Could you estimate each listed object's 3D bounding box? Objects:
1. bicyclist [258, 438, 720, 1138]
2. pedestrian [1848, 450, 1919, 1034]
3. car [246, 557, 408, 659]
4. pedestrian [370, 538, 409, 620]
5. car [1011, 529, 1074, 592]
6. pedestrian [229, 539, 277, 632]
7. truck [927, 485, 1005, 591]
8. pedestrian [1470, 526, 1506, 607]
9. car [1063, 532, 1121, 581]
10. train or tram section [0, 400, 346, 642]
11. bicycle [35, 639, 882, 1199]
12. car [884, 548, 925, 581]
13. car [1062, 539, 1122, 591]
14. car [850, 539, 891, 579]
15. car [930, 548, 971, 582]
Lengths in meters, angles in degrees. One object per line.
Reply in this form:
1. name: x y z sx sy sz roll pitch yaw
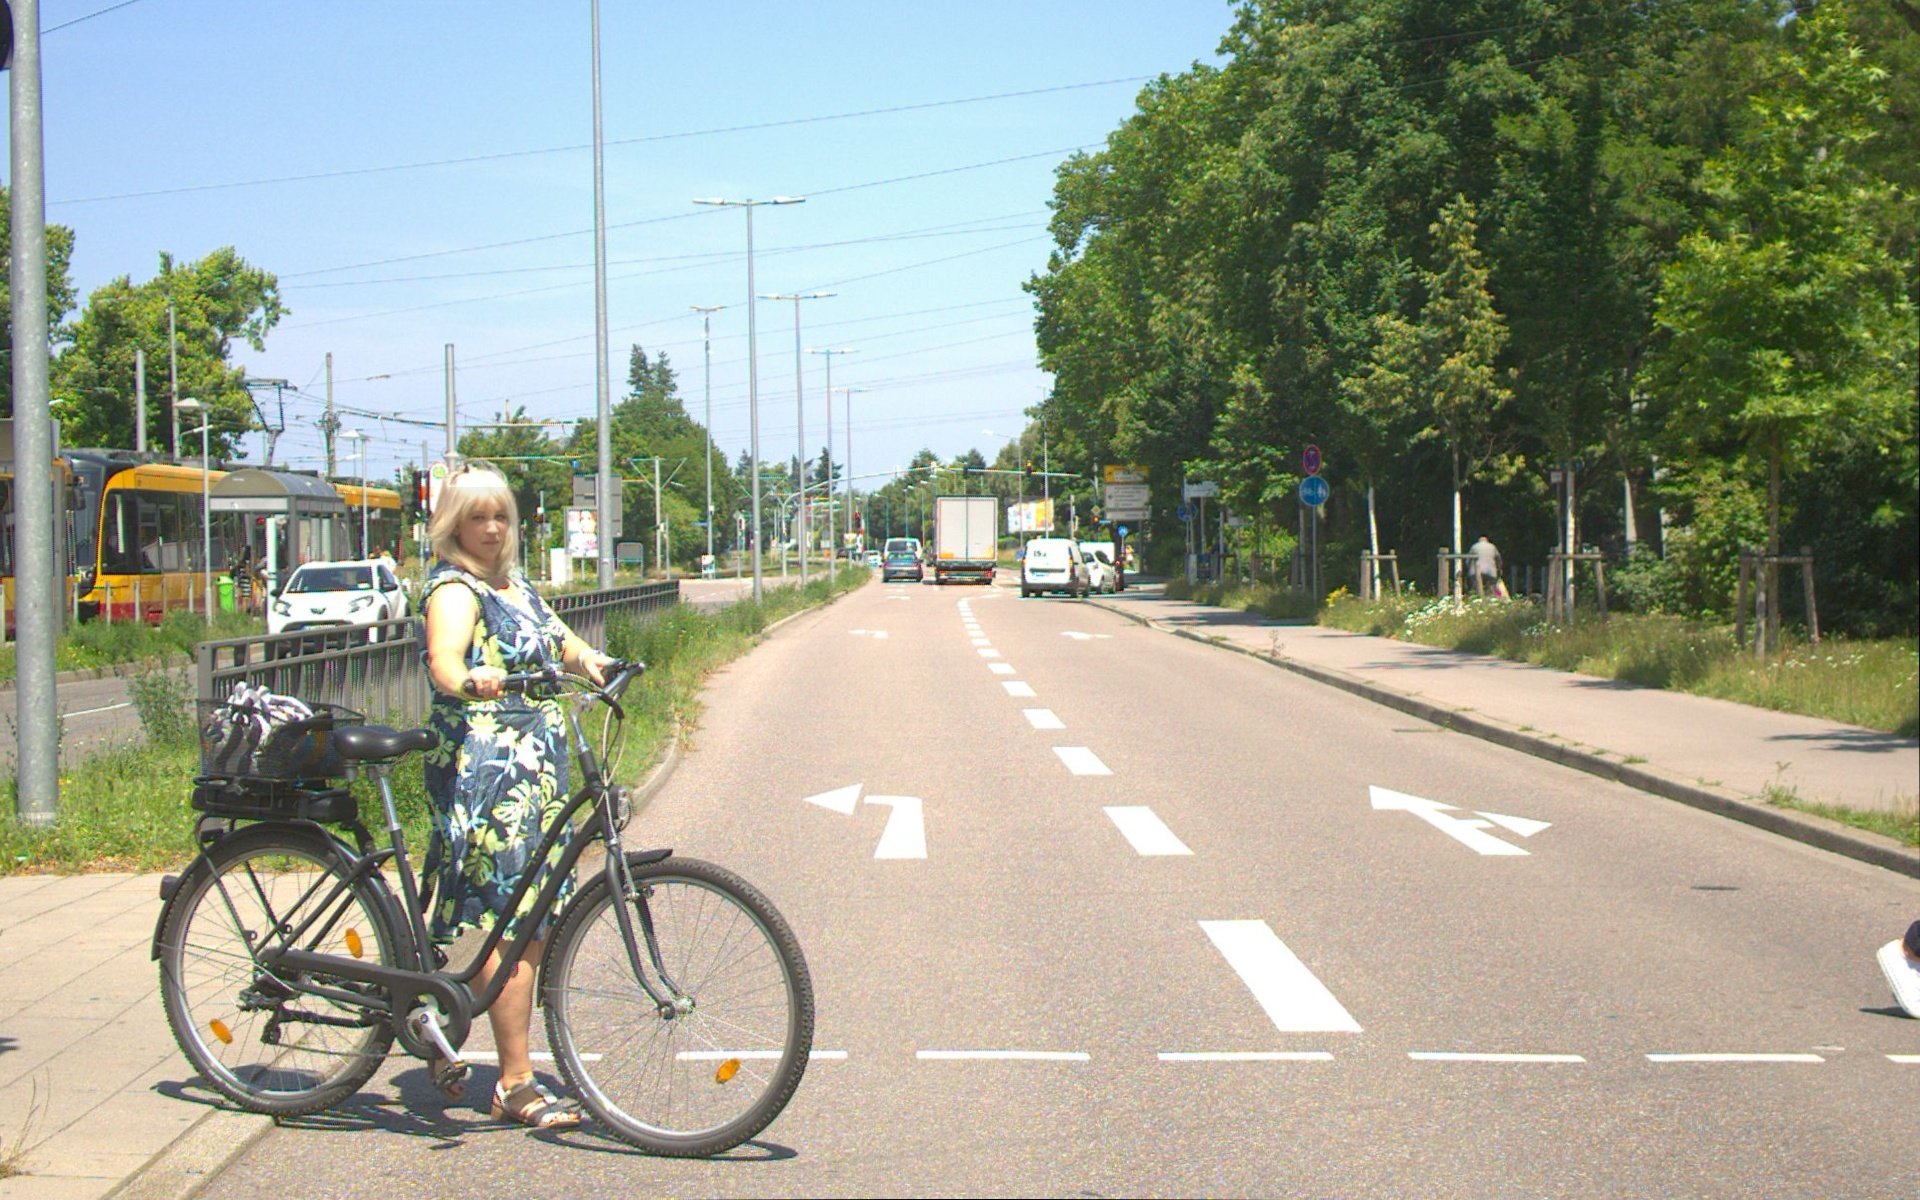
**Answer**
1. bicyclist: -1.186 0.438 8.706 0.958 1.661 0.580 3 3 17
2. pedestrian: 3.451 0.437 10.610 1.187 1.772 0.838 0 -1 30
3. car: -9.780 0.101 53.350 1.845 1.489 3.791 0 1 -1
4. pedestrian: -14.094 -0.524 84.955 0.815 2.007 0.938 0 1 -1
5. car: 2.502 -1.223 105.466 1.779 1.897 4.000 0 1 -1
6. pedestrian: -14.257 -0.301 69.309 0.785 1.862 0.817 0 1 -1
7. truck: 0.215 -2.636 146.117 3.205 4.344 6.561 0 1 -1
8. pedestrian: 9.412 -0.604 61.251 0.604 1.433 0.556 0 1 6
9. car: 4.549 -1.518 118.795 1.779 1.663 4.000 0 1 -1
10. train or tram section: -16.673 -1.509 69.532 2.931 3.776 33.090 0 1 -1
11. bicycle: -1.222 0.739 8.322 1.959 1.157 0.541 3 3 18
12. car: -2.511 -1.627 155.287 1.811 1.459 4.000 0 1 -1
13. car: 4.299 -1.153 112.452 1.779 1.663 4.000 0 1 -1
14. car: -4.550 -2.079 175.172 1.993 2.007 4.000 0 1 -1
15. car: -0.430 -1.560 153.624 1.811 1.459 4.000 0 1 -1
